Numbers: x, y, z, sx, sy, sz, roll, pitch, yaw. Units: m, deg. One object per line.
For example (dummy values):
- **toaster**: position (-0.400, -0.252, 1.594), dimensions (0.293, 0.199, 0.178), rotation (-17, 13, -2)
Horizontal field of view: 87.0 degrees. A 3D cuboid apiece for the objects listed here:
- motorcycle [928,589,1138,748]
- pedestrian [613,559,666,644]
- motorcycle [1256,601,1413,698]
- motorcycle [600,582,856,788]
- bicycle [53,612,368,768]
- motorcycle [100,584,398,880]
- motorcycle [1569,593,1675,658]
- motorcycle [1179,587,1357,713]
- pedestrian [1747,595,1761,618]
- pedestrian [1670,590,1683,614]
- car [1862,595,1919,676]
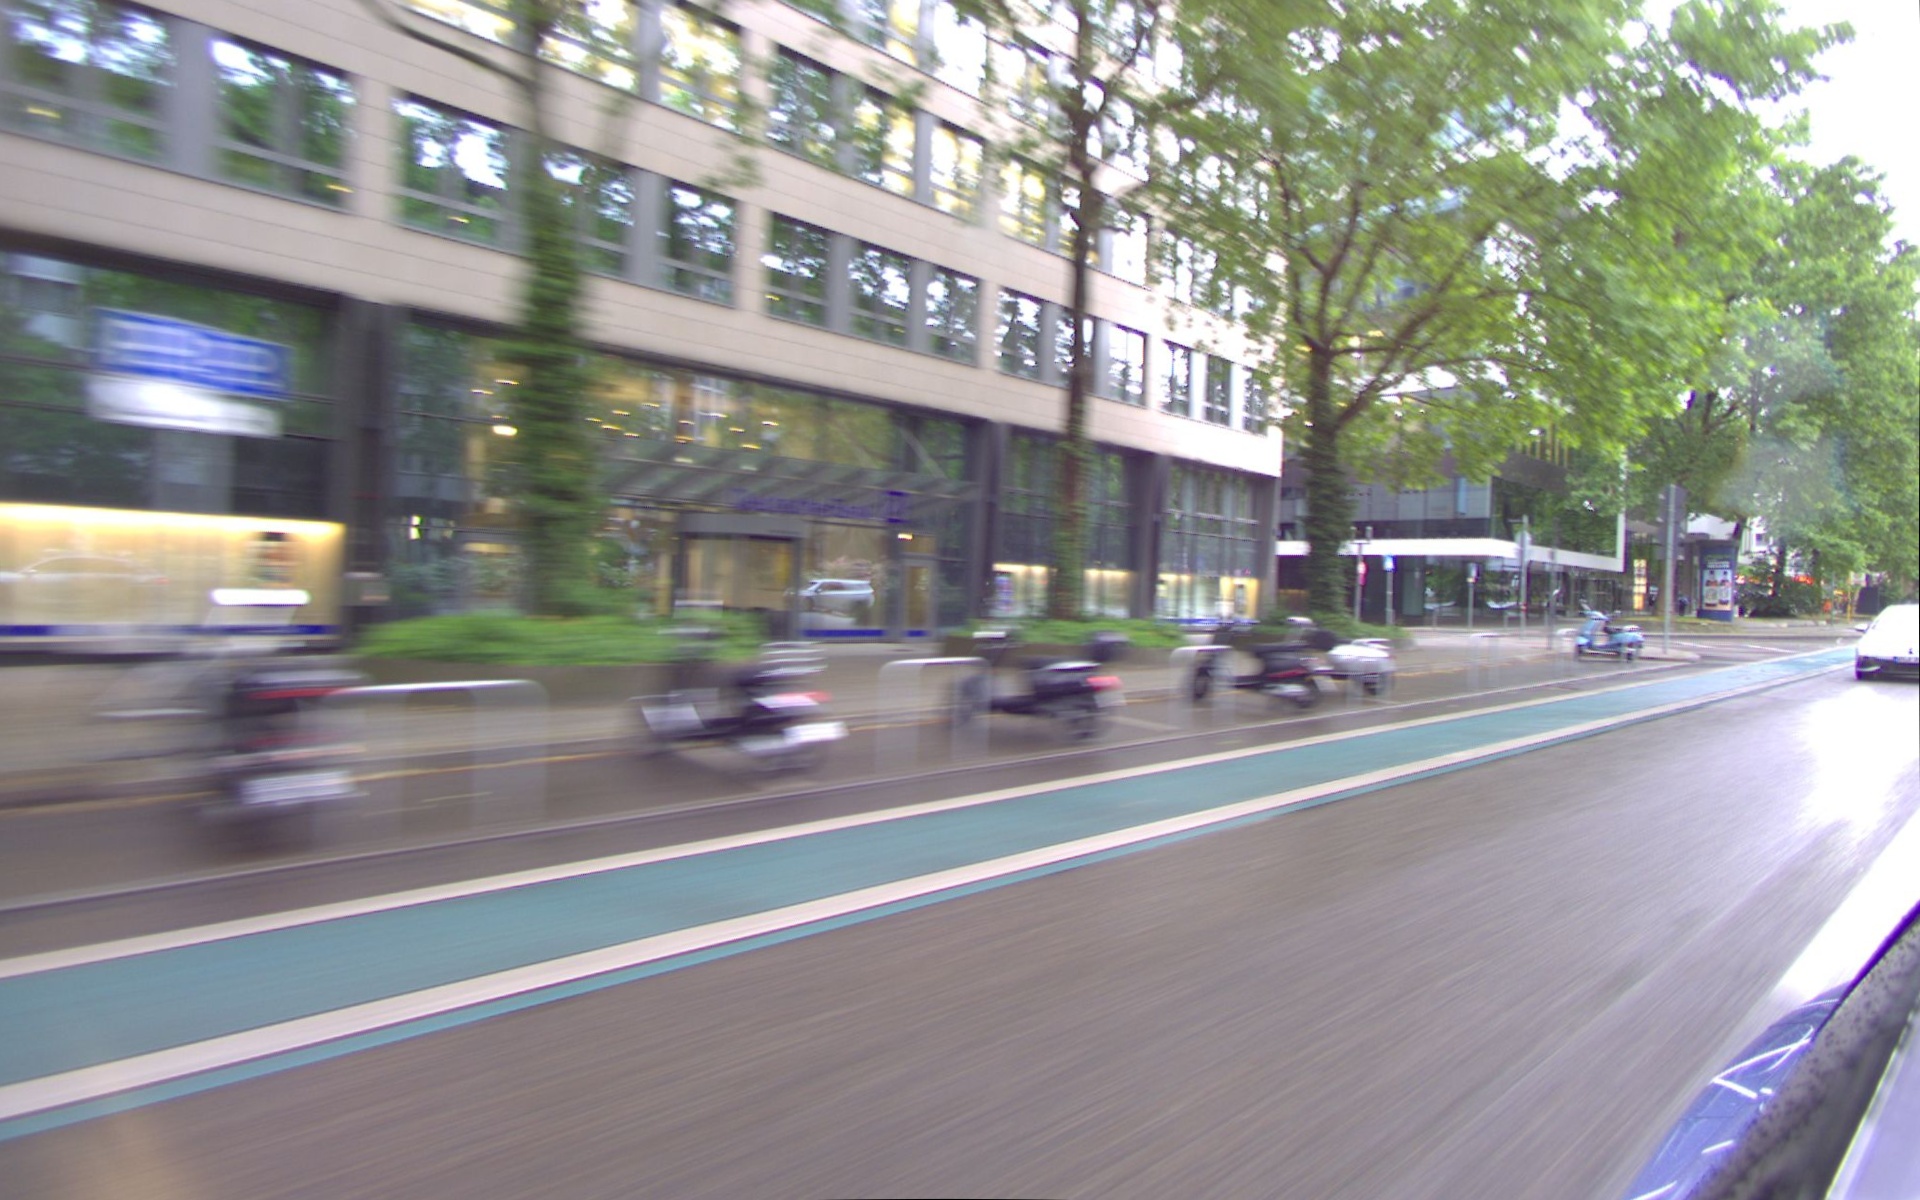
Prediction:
- **motorcycle**: position (0.719, 0.634, 10.199), dimensions (1.944, 1.391, 0.722), rotation (3, 0, 28)
- **pedestrian**: position (-6.711, 0.025, 21.213), dimensions (0.813, 1.714, 0.729), rotation (2, 1, 2)
- **motorcycle**: position (5.436, 0.695, 14.813), dimensions (2.030, 1.227, 0.682), rotation (3, 3, 14)
- **motorcycle**: position (-1.859, 0.605, 8.028), dimensions (1.944, 1.391, 0.722), rotation (3, 0, 28)
- **bicycle**: position (-5.378, 0.619, 7.367), dimensions (1.726, 1.041, 0.640), rotation (0, 0, -12)
- **motorcycle**: position (-4.156, 0.652, 5.867), dimensions (1.948, 1.391, 0.720), rotation (3, 1, 34)
- **motorcycle**: position (15.427, 0.588, 23.614), dimensions (1.908, 1.383, 0.685), rotation (2, 3, 0)
- **motorcycle**: position (3.958, 0.601, 13.055), dimensions (2.042, 1.446, 0.722), rotation (3, 0, 28)
- **pedestrian**: position (53.980, 0.415, 68.801), dimensions (0.987, 1.524, 0.588), rotation (0, 1, -41)
- **pedestrian**: position (49.894, 0.125, 70.492), dimensions (0.707, 1.645, 0.527), rotation (-1, 4, -41)
- **car**: position (19.209, 0.648, 19.850), dimensions (3.727, 1.490, 1.794), rotation (0, 0, -41)
